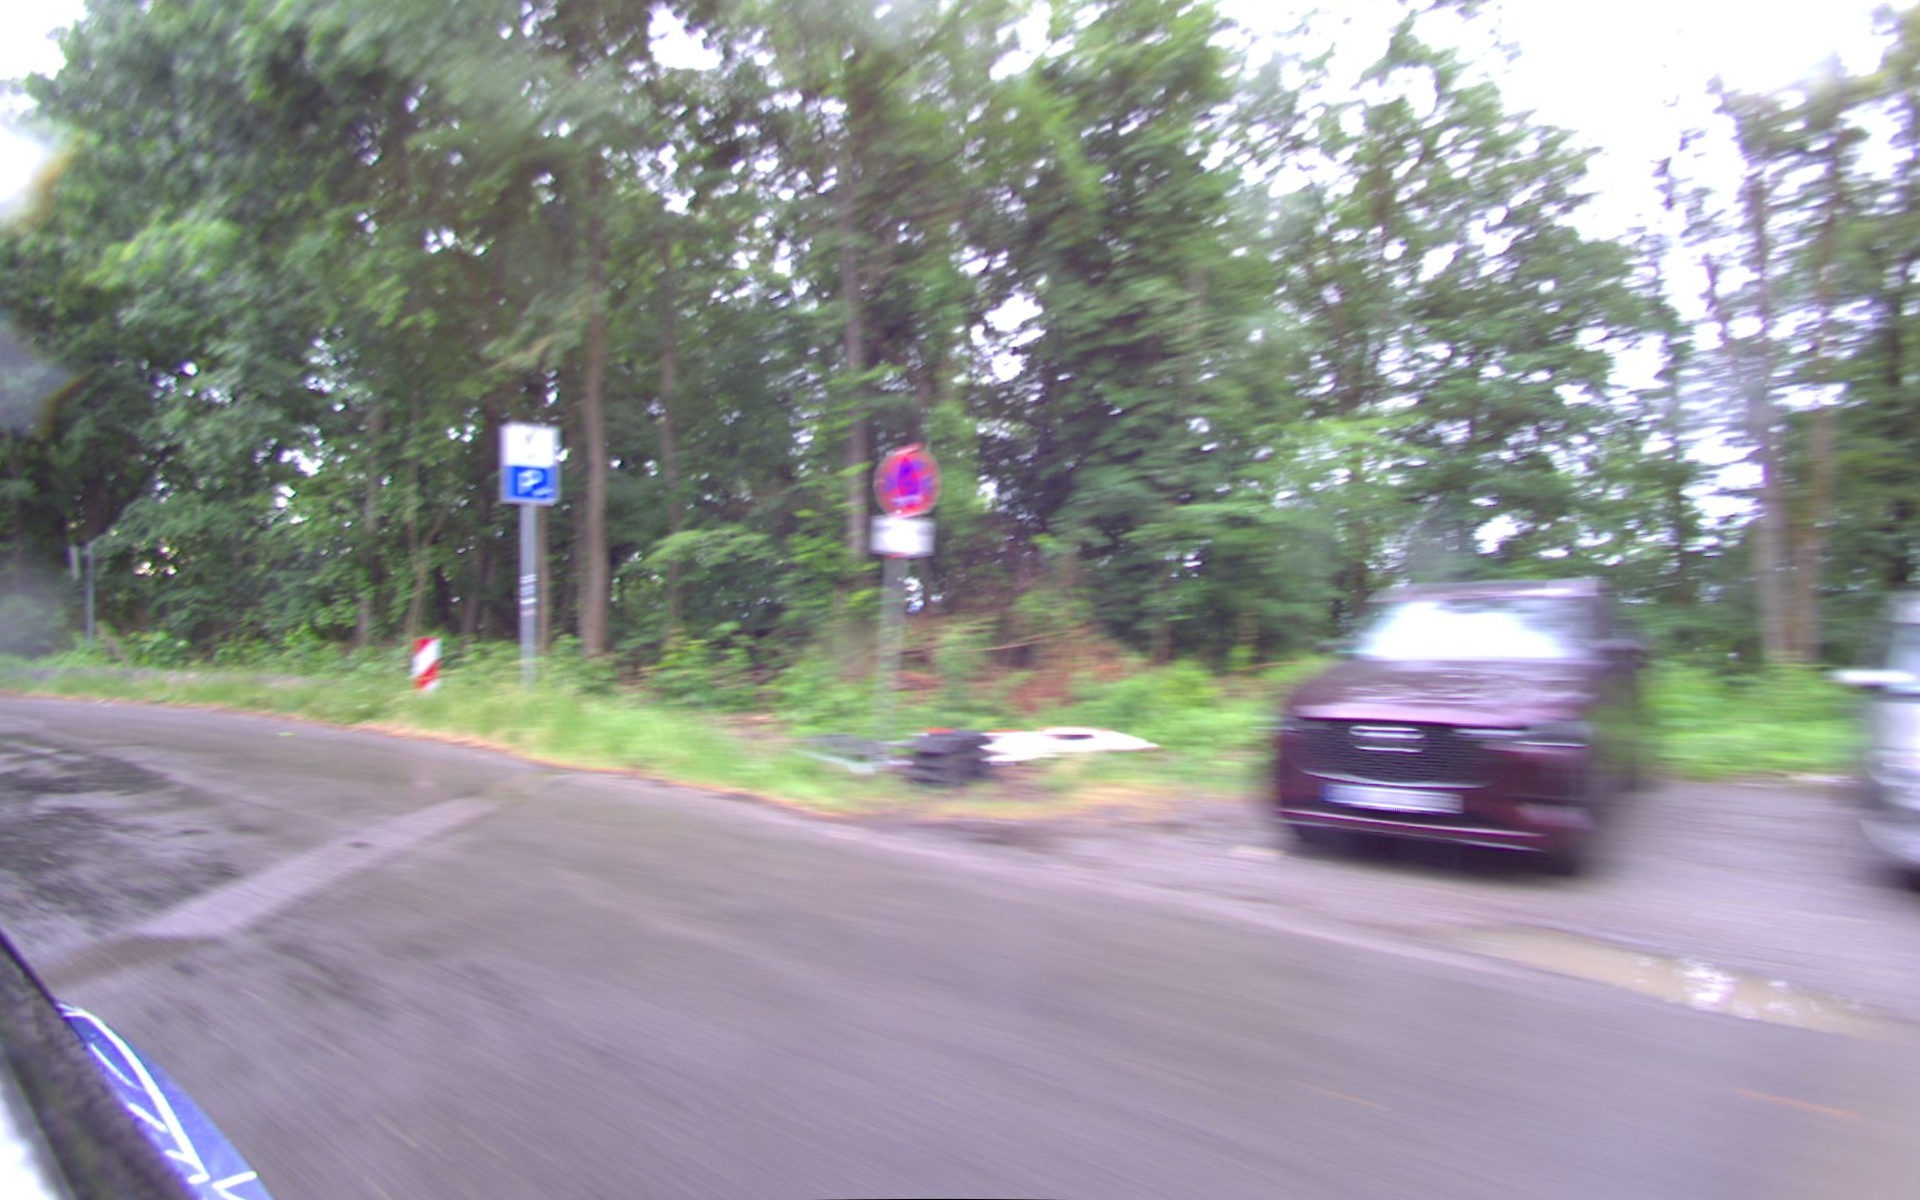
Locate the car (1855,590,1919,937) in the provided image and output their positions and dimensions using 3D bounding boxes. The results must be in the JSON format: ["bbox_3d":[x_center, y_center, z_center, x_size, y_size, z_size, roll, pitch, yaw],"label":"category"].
[{"bbox_3d":[6.292,0.723,5.697,1.773,1.566,4.093,-1,0,41],"label":"car"}]

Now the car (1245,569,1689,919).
[{"bbox_3d":[3.959,0.685,7.349,1.874,1.690,4.777,-1,0,39],"label":"car"}]
